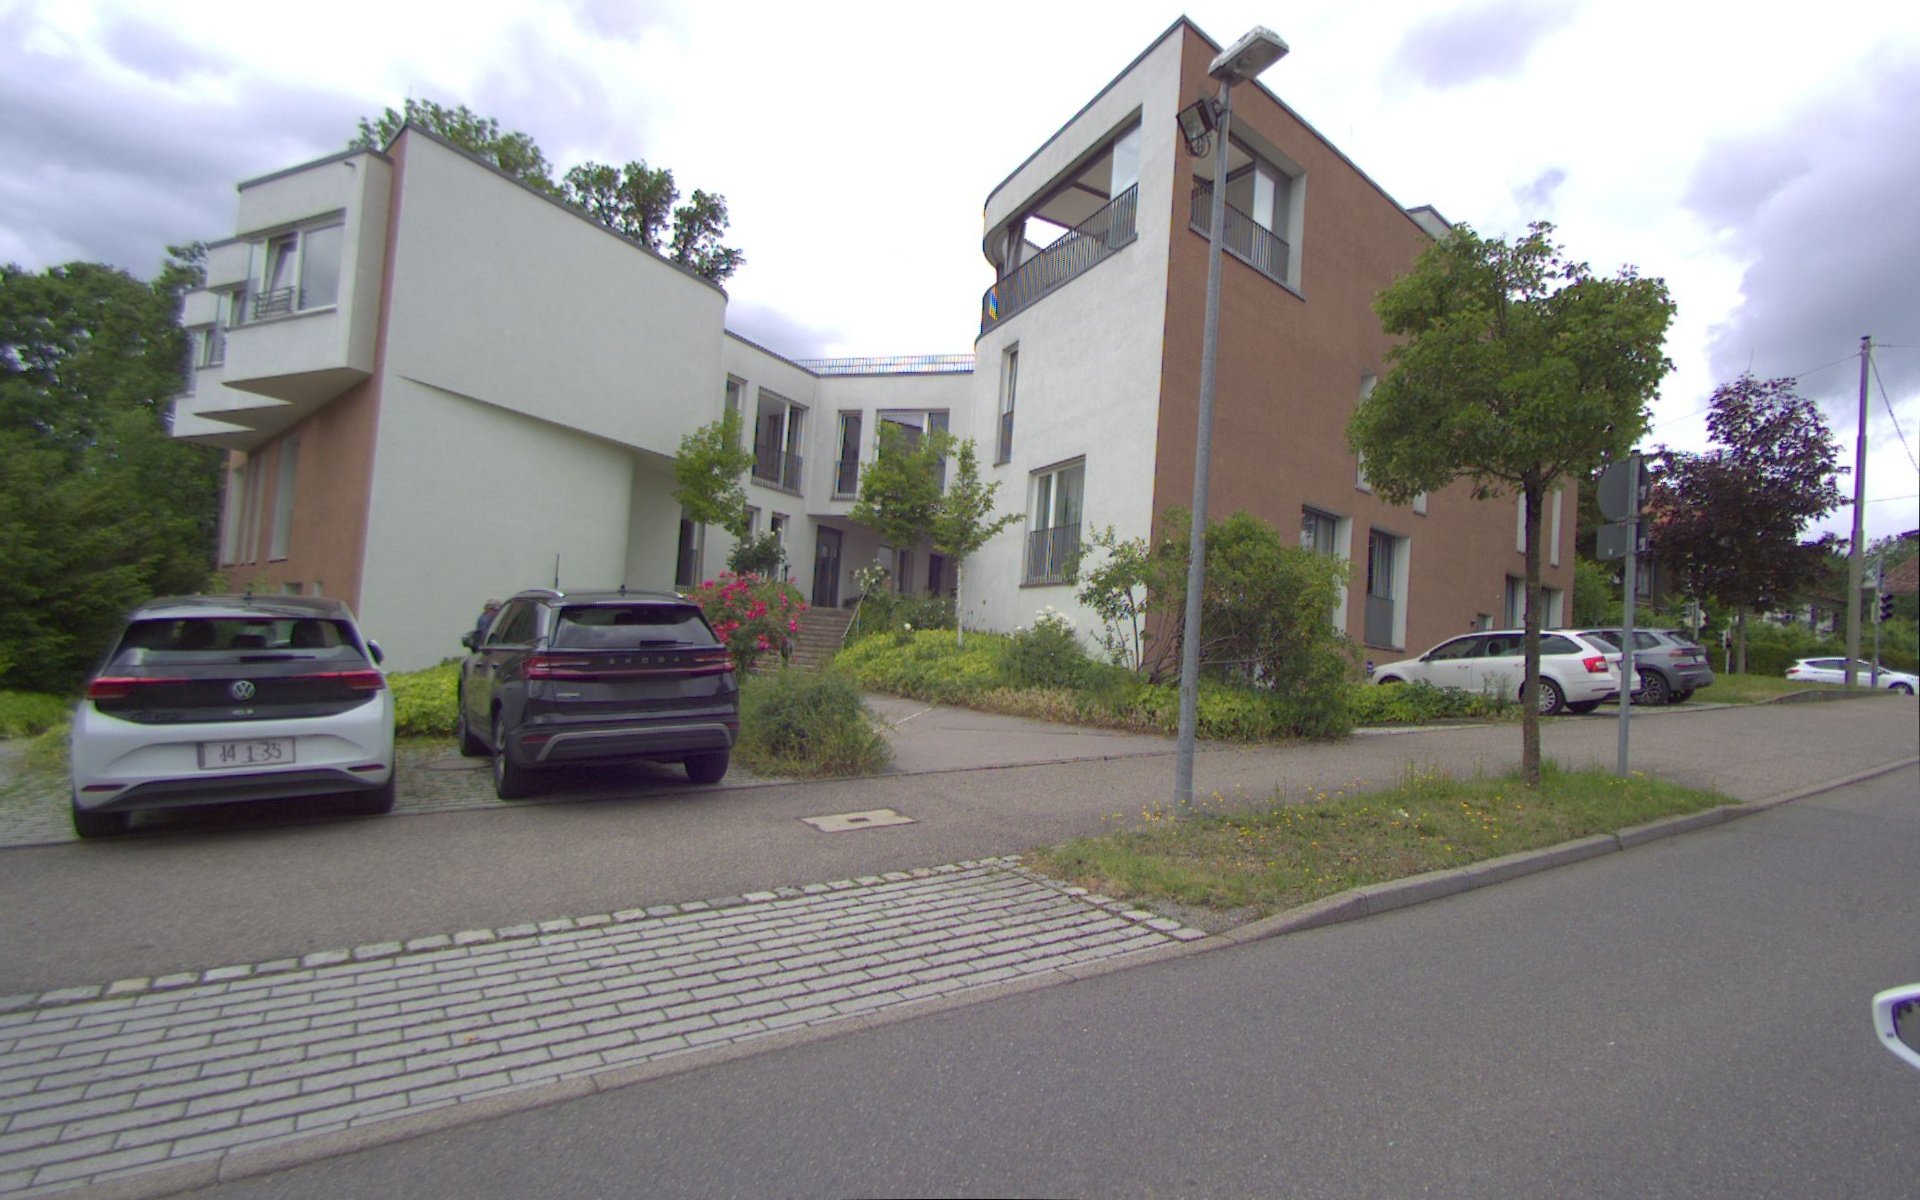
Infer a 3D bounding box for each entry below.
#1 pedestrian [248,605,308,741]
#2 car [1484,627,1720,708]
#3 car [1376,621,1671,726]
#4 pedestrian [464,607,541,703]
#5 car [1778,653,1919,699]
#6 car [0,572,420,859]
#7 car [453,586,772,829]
[{"bbox_3d":[-8.565,0.901,12.636,0.559,1.662,0.590,1,-2,-31],"label":"pedestrian"},{"bbox_3d":[13.115,1.331,20.697,1.716,1.483,3.732,1,-2,-37],"label":"car"},{"bbox_3d":[9.993,1.266,18.131,1.994,1.644,4.234,3,-4,-34],"label":"car"},{"bbox_3d":[-6.436,0.756,14.123,0.890,1.300,0.603,1,0,-33],"label":"pedestrian"},{"bbox_3d":[32.274,2.713,36.489,3.939,1.401,1.928,0,0,39],"label":"car"},{"bbox_3d":[-5.634,0.715,7.950,2.044,1.587,4.361,1,-2,-33],"label":"car"},{"bbox_3d":[-3.348,0.770,9.138,1.985,1.675,3.967,1,-1,-31],"label":"car"}]
